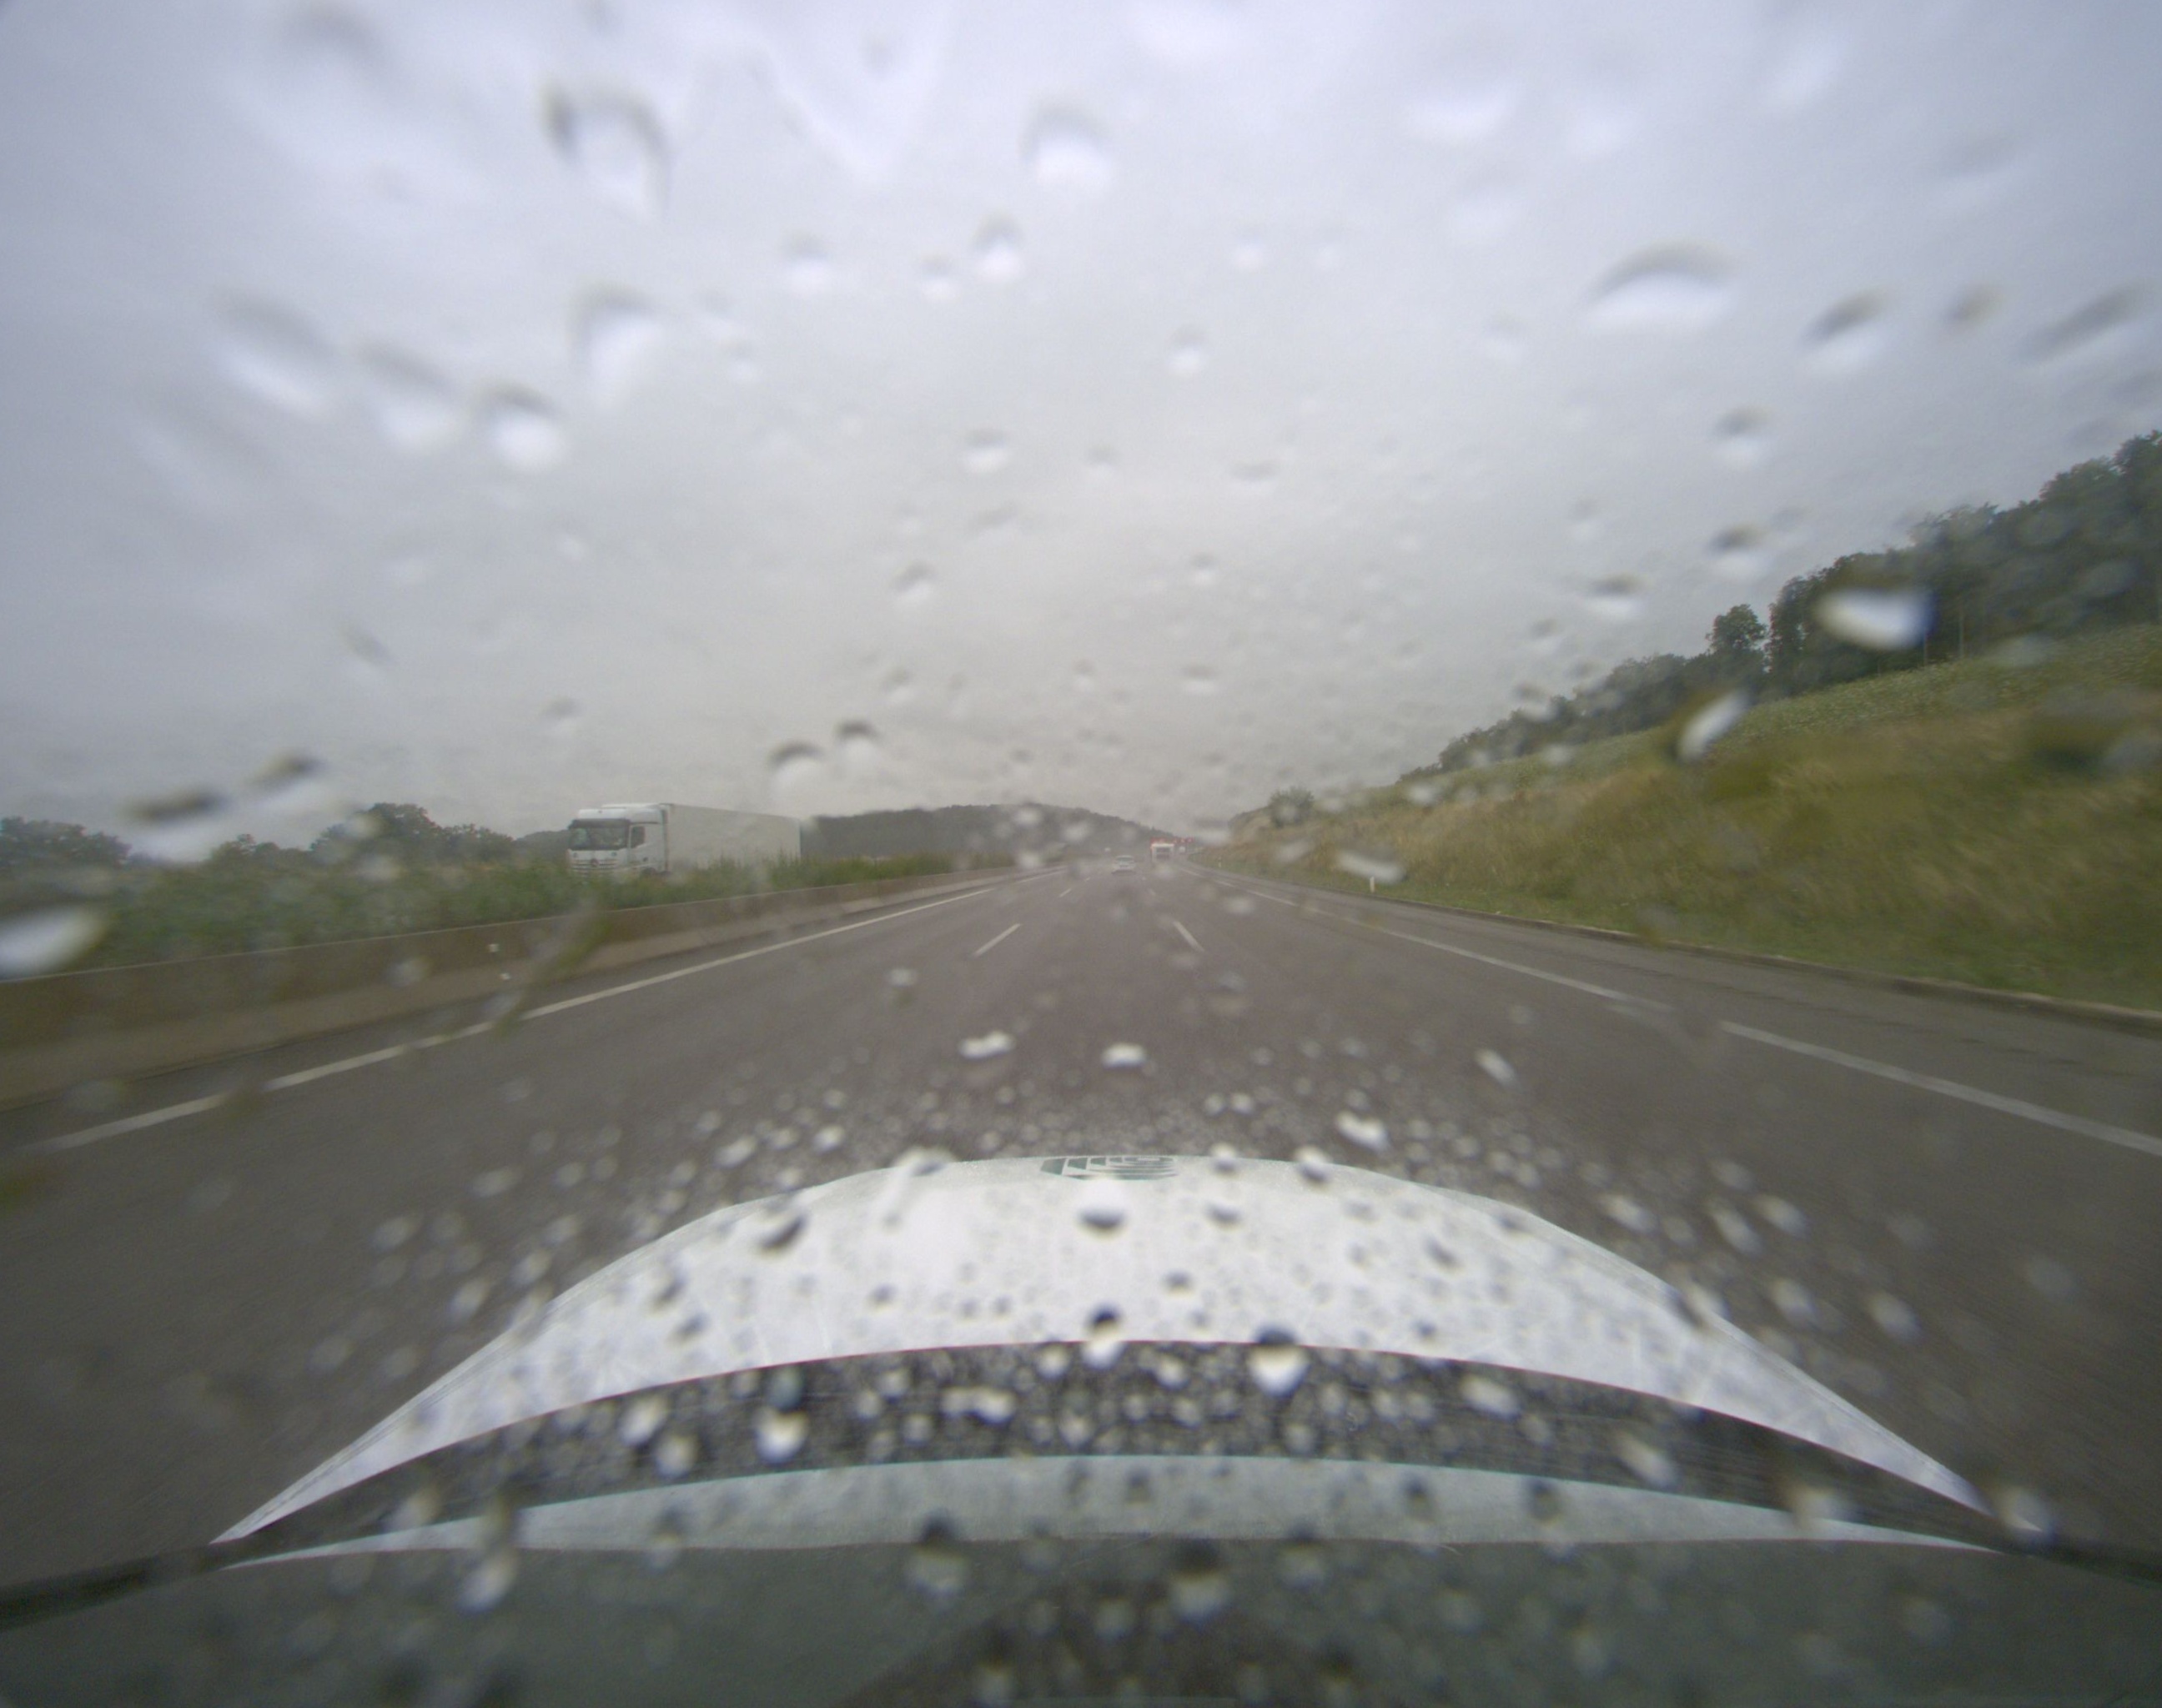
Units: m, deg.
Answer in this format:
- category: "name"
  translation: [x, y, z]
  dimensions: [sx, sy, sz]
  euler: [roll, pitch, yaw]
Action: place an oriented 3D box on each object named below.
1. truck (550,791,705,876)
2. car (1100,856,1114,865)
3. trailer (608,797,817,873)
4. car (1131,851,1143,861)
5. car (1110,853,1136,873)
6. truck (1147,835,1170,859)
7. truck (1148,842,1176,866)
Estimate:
- category: "truck"
  translation: [-18.225, -0.707, 33.218]
  dimensions: [2.981, 3.124, 5.598]
  euler: [0, -1, 2]
- category: "car"
  translation: [3.545, 0.863, 112.417]
  dimensions: [1.818, 1.156, 4.212]
  euler: [0, -1, 0]
- category: "trailer"
  translation: [-17.912, -0.631, 41.762]
  dimensions: [2.976, 3.144, 15.727]
  euler: [0, -1, 2]
- category: "car"
  translation: [9.487, 0.406, 137.521]
  dimensions: [1.985, 1.618, 4.004]
  euler: [-1, 0, 4]
- category: "car"
  translation: [3.149, 0.670, 60.442]
  dimensions: [1.860, 1.463, 4.003]
  euler: [-1, -1, 3]
- category: "truck"
  translation: [12.478, -1.177, 130.836]
  dimensions: [3.509, 3.742, 11.445]
  euler: [0, 1, 6]
- category: "truck"
  translation: [8.204, 0.003, 82.909]
  dimensions: [2.400, 2.252, 4.693]
  euler: [-1, 0, 0]
